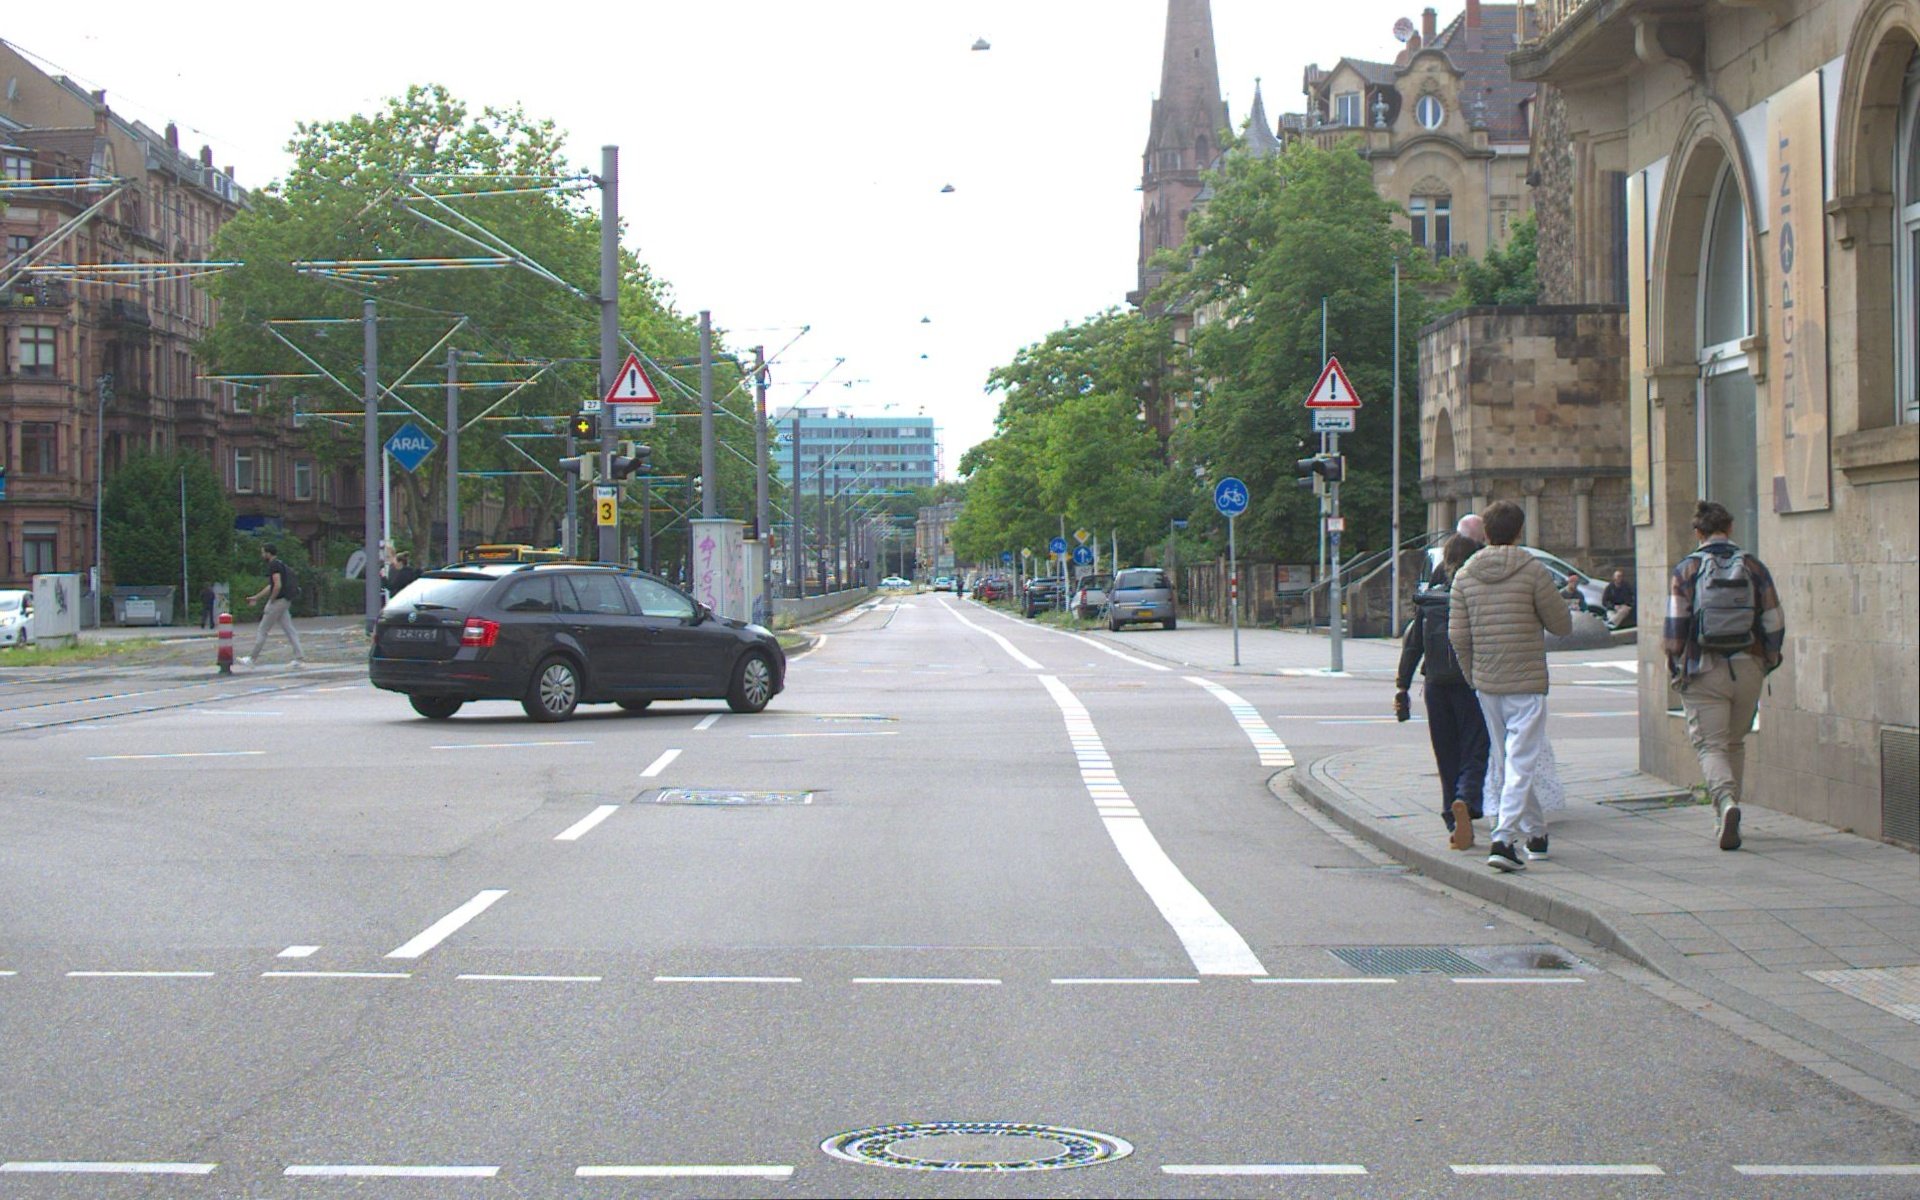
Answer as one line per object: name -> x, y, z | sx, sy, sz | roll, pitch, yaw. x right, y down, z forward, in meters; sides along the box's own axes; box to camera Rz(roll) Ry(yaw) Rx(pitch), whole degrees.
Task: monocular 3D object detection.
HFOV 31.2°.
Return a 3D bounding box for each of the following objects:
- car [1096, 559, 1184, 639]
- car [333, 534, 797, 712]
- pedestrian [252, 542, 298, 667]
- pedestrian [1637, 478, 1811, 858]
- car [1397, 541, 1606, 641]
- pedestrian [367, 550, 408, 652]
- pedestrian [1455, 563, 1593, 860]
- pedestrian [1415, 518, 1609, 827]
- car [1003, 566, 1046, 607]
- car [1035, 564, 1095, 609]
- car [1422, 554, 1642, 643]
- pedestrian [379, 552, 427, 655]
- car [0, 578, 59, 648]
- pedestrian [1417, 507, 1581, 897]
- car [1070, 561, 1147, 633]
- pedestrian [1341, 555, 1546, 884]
car -> 4.688, -0.041, 90.105 | 1.993, 2.007, 4.000 | 1, 0, -1
car -> -3.706, 0.205, 32.867 | 1.810, 1.581, 4.330 | 1, 0, 40
pedestrian -> -9.878, 0.062, 49.598 | 0.573, 1.788, 0.519 | 1, 0, -5
pedestrian -> 3.729, 0.322, 16.853 | 0.626, 1.772, 1.134 | -3, 0, 7
car -> 10.732, -0.175, 68.326 | 3.799, 1.897, 2.000 | 1, 0, 0
pedestrian -> -8.677, 0.011, 52.106 | 0.545, 1.532, 0.466 | 1, 0, -5
pedestrian -> 3.094, 0.598, 18.925 | 0.700, 1.587, 0.831 | 1, 0, 8
pedestrian -> 3.269, 0.412, 20.364 | 0.917, 1.778, 0.646 | 1, 0, 37
car -> 3.208, -0.661, 172.496 | 1.993, 2.007, 4.000 | 1, 0, -1
car -> 3.904, -0.498, 128.493 | 1.993, 1.602, 4.164 | -2, 0, -1
car -> 10.769, -0.034, 64.917 | 3.799, 1.595, 2.000 | 1, 0, 0
pedestrian -> -8.347, 0.051, 51.510 | 0.653, 1.532, 0.466 | 1, 0, -5
car -> -22.203, 0.271, 79.211 | 1.894, 1.552, 3.836 | 1, 0, -1
pedestrian -> 2.603, 0.471, 16.554 | 0.583, 1.807, 1.014 | 1, 0, 19
car -> 4.281, -0.104, 99.680 | 1.993, 2.007, 4.000 | 1, 0, -1
pedestrian -> 2.514, 0.598, 17.830 | 0.627, 1.647, 0.994 | 1, 0, 37
